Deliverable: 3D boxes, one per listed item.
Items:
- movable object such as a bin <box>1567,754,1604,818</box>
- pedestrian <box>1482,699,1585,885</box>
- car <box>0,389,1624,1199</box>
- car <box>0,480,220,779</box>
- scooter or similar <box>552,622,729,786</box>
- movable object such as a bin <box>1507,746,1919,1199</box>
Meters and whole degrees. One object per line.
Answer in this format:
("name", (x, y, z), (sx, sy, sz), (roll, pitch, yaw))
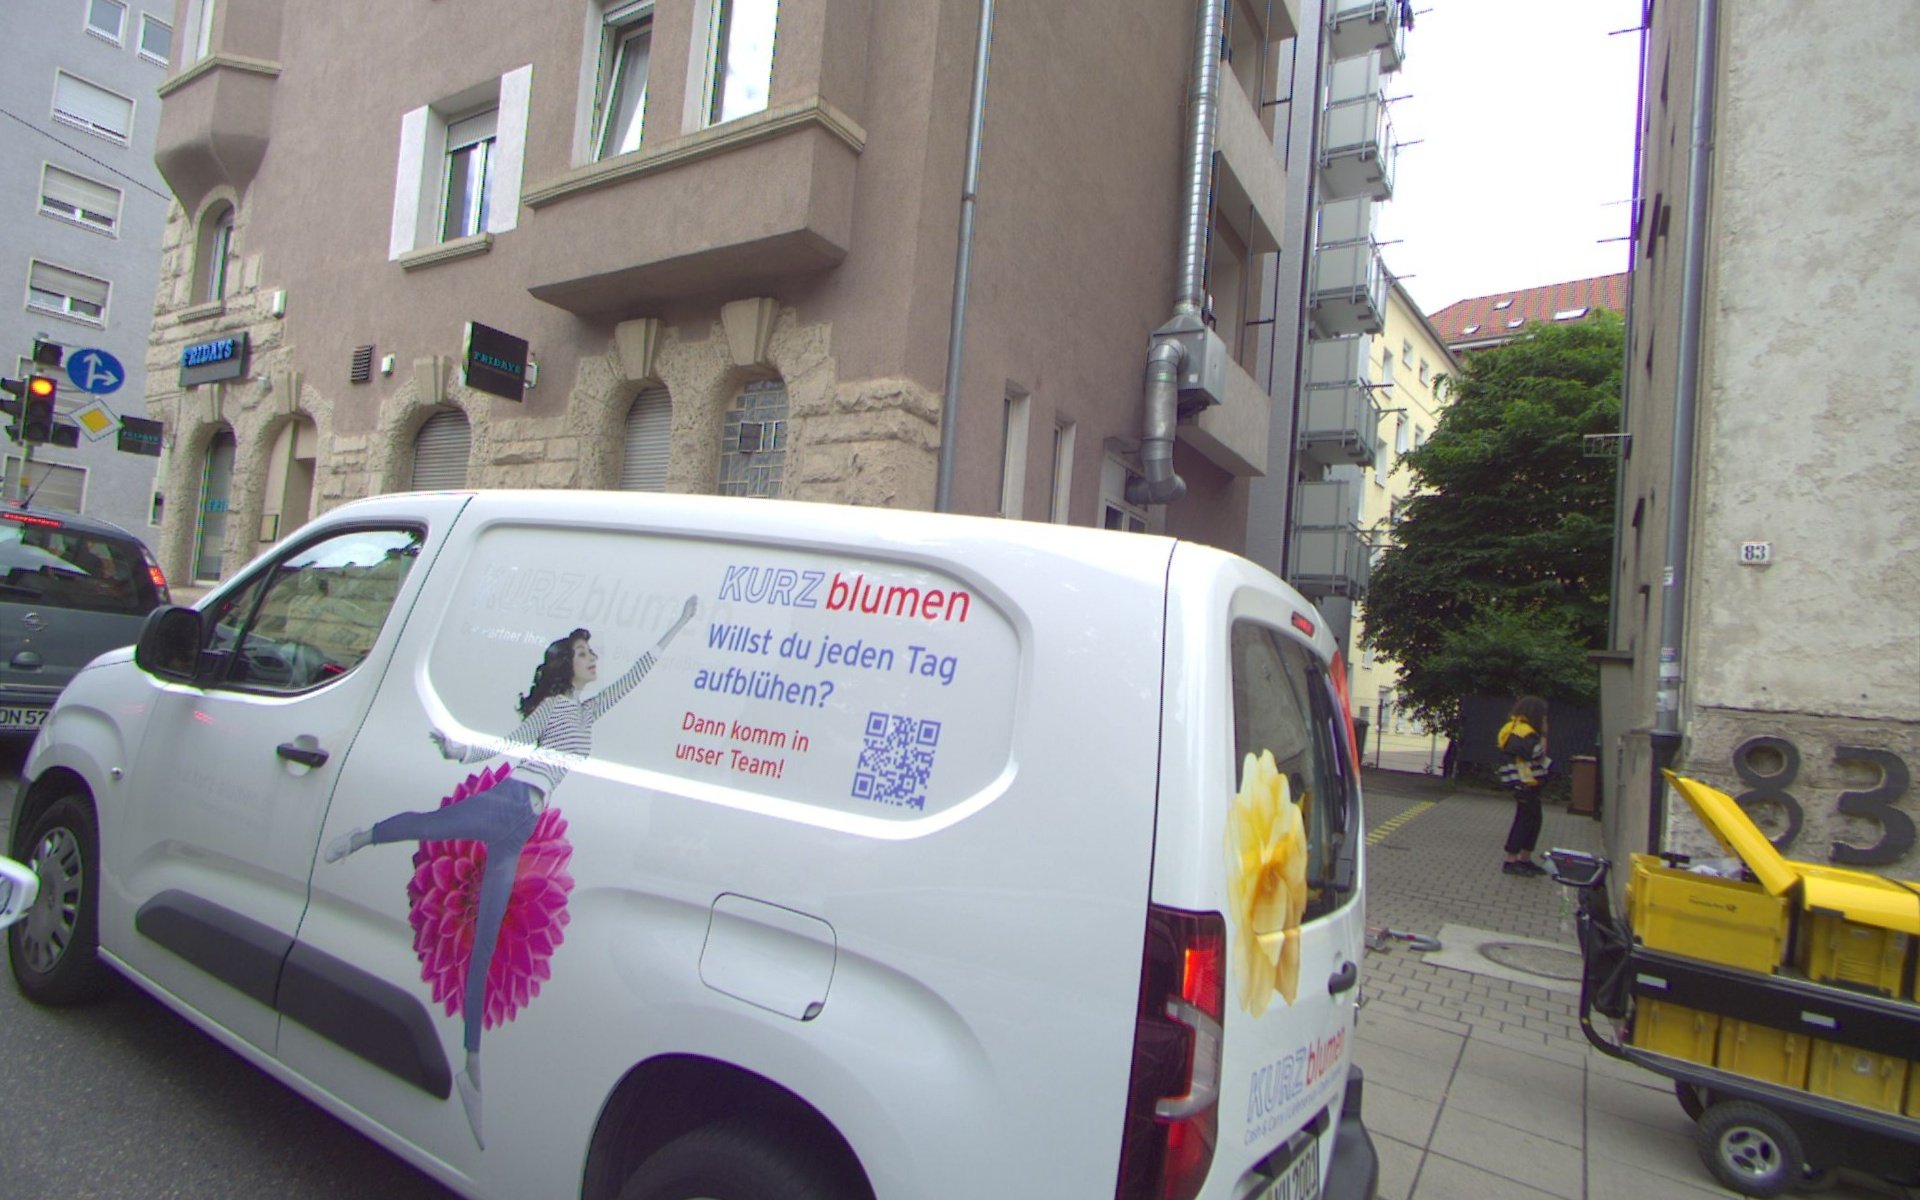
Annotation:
("movable object such as a bin", (9.934, 2.946, 15.982), (0.405, 0.922, 0.340), (6, -1, 32))
("pedestrian", (5.587, 1.823, 9.842), (0.770, 1.665, 0.811), (1, -3, 24))
("car", (-0.887, 0.585, 3.095), (4.597, 1.793, 1.983), (6, -5, 30))
("car", (-6.704, 0.023, 6.533), (3.608, 1.614, 1.634), (6, -5, 32))
("scooter or similar", (-2.637, 0.821, 8.251), (1.400, 1.117, 0.527), (6, -1, 34))
("movable object such as a bin", (3.361, 1.461, 3.973), (1.979, 1.391, 1.223), (6, 0, 30))
